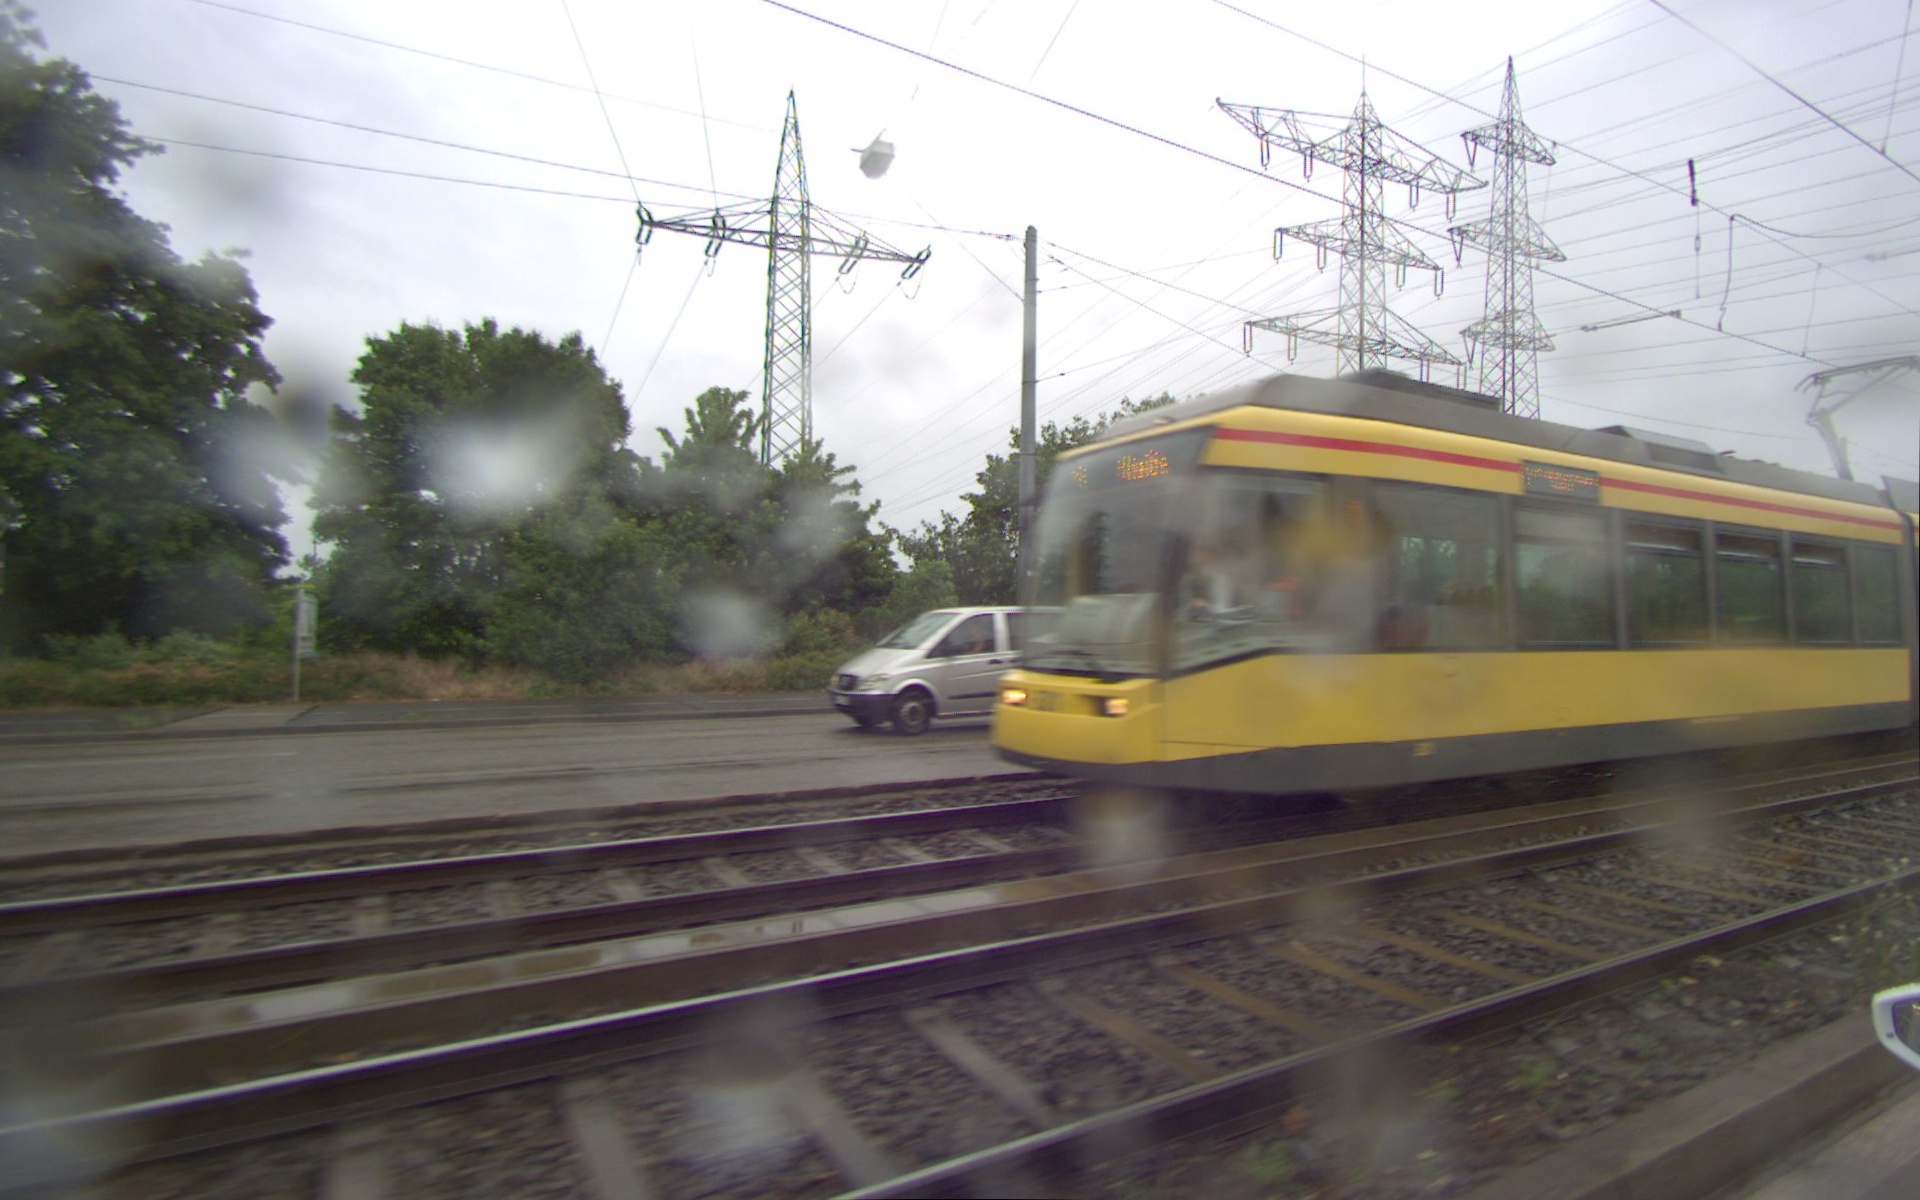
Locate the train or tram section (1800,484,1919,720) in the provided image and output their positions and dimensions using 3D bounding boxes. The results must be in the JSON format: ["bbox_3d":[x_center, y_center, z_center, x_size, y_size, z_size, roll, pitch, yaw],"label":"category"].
[{"bbox_3d":[23.494,0.074,21.089,19.303,3.755,2.871,0,0,-31],"label":"train or tram section"}]

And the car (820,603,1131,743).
[{"bbox_3d":[0.281,1.013,15.725,4.565,1.909,1.879,0,0,-29],"label":"car"}]

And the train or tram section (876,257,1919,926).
[{"bbox_3d":[7.602,-0.011,11.459,17.683,3.755,2.850,0,0,-31],"label":"train or tram section"}]
